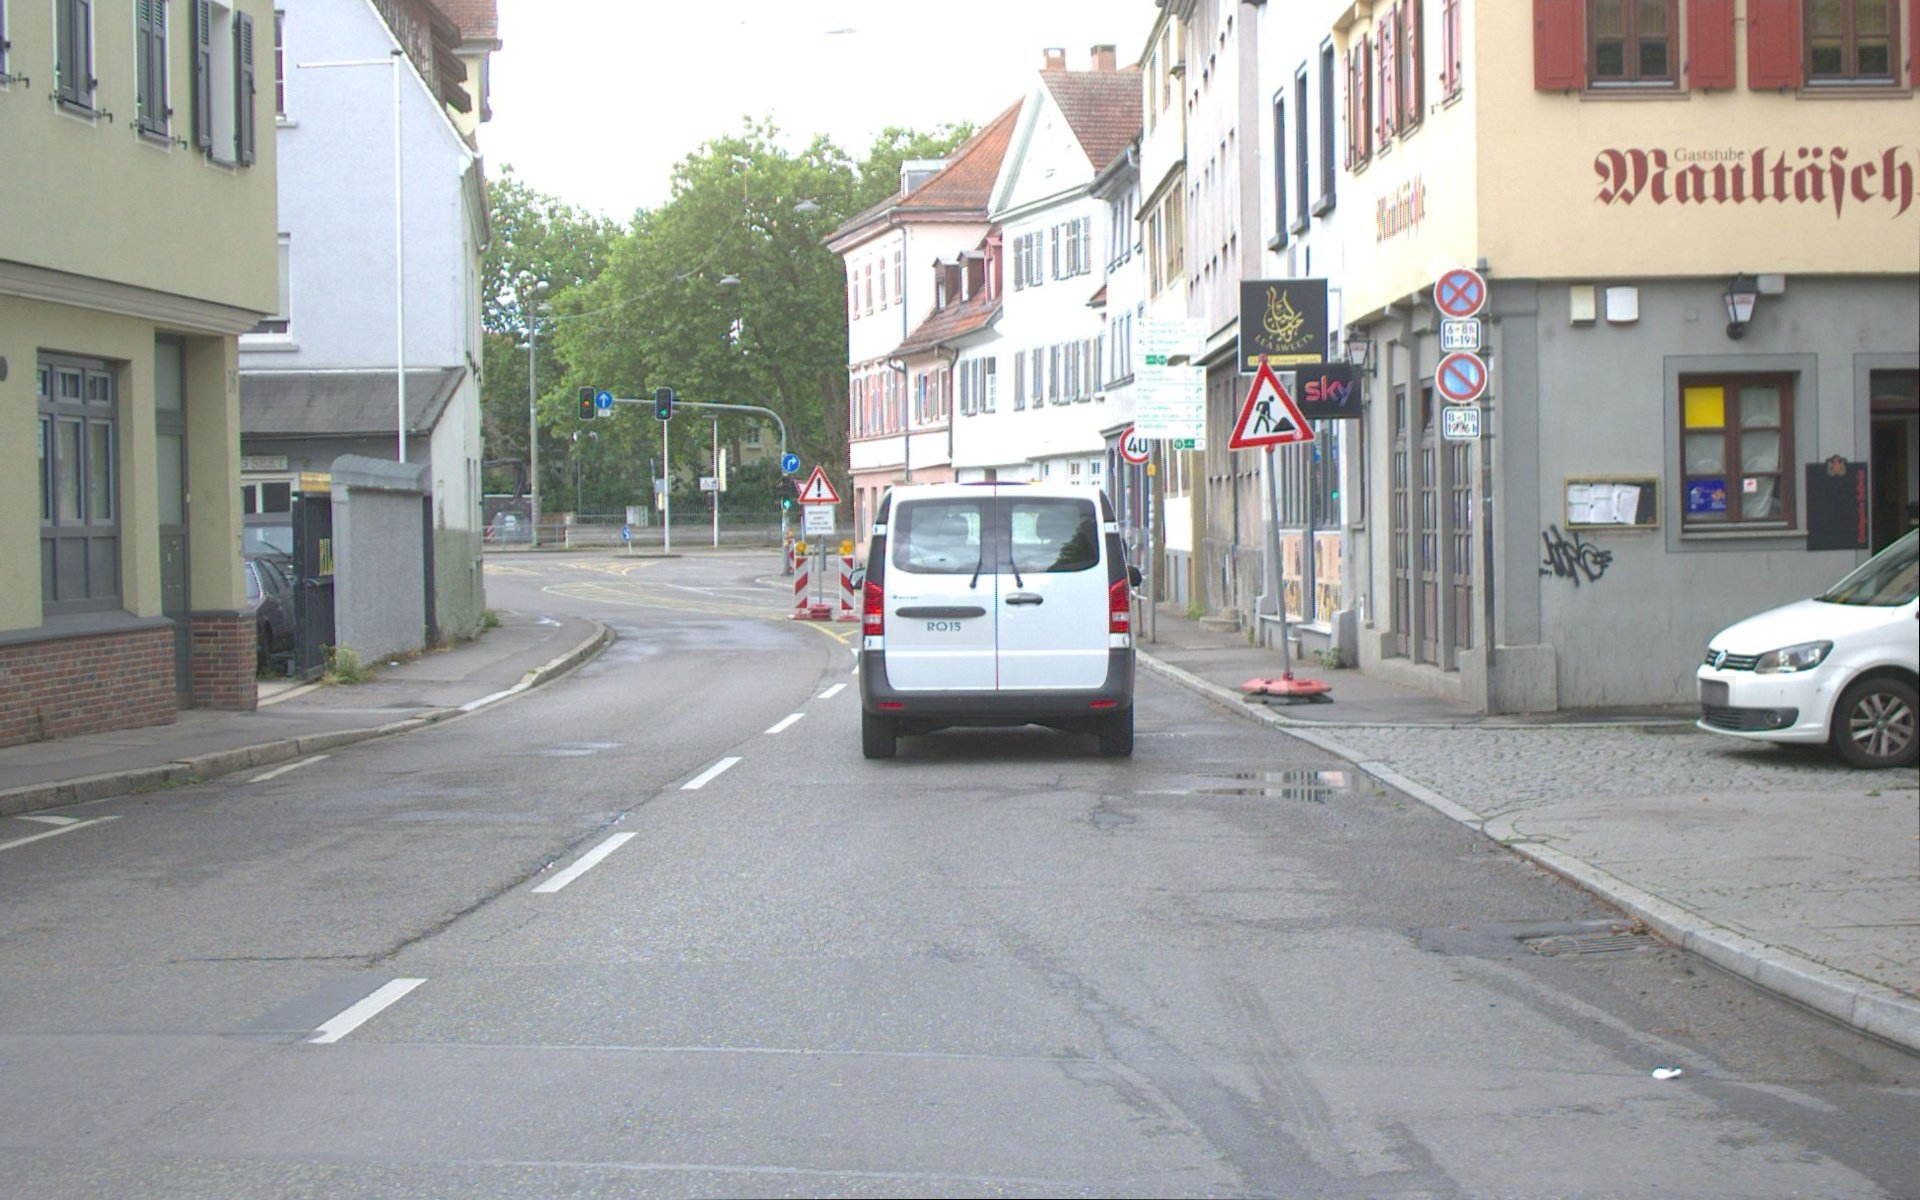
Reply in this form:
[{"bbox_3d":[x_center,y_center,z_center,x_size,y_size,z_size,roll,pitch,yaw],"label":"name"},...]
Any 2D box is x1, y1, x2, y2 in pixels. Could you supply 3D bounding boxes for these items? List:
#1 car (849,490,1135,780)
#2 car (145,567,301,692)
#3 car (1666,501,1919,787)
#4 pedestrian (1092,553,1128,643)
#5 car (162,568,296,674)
[{"bbox_3d":[0.265,0.200,24.695,1.873,1.905,4.000,0,1,2],"label":"car"},{"bbox_3d":[-8.479,0.301,39.368,1.645,1.349,4.001,0,1,-14],"label":"car"},{"bbox_3d":[7.139,0.239,23.314,4.241,1.791,1.848,-1,3,-7],"label":"car"},{"bbox_3d":[2.907,-0.045,66.695,0.643,1.741,0.562,0,0,-4],"label":"pedestrian"},{"bbox_3d":[-9.801,0.252,45.934,1.645,1.349,4.001,0,0,-14],"label":"car"}]
